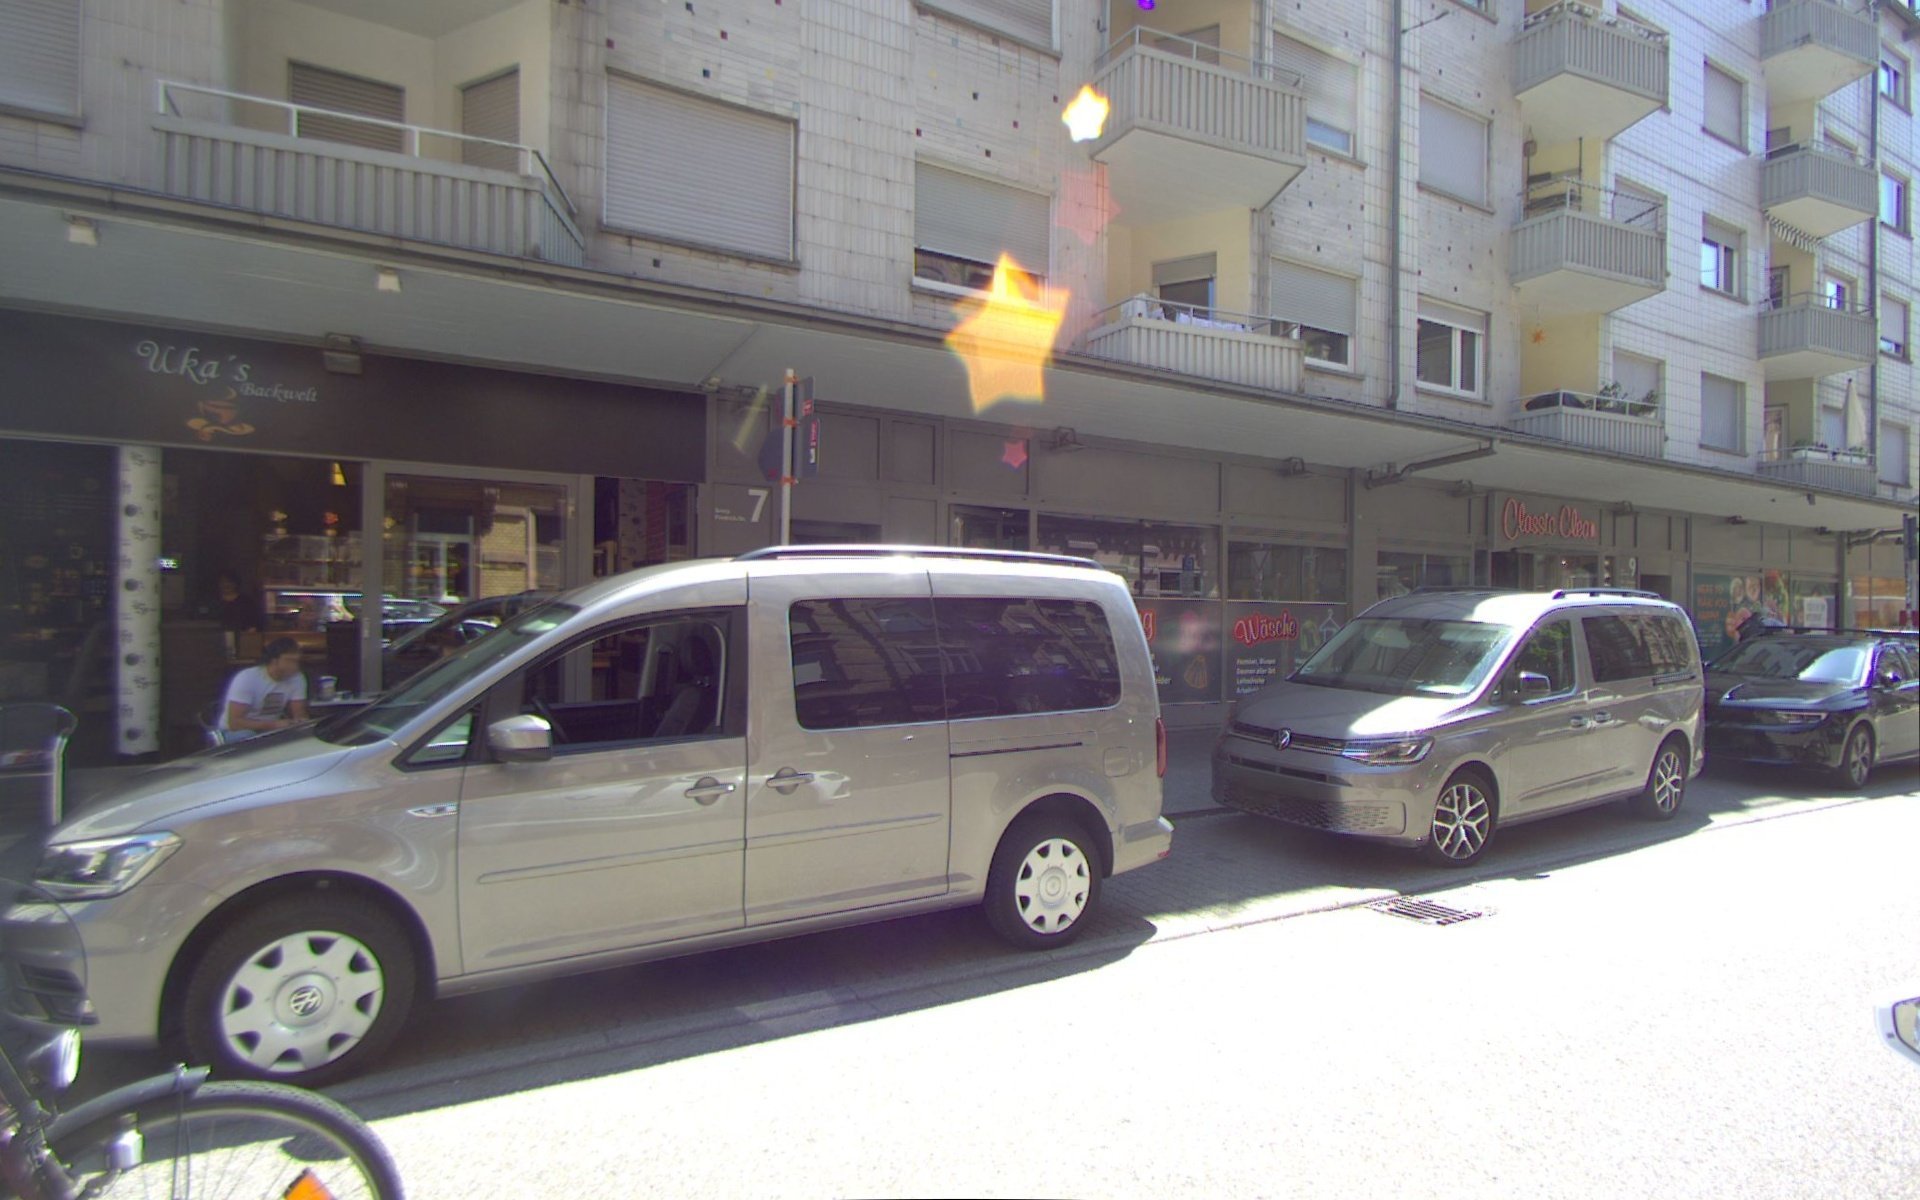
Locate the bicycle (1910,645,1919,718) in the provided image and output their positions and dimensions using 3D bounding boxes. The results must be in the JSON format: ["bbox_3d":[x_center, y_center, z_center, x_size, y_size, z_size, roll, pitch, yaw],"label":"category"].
[{"bbox_3d":[16.033,1.341,15.719,0.521,1.154,1.574,1,1,-33],"label":"bicycle"}]

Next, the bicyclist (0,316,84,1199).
[{"bbox_3d":[-1.822,0.462,1.253,0.967,1.729,0.620,1,-1,-30],"label":"bicyclist"}]

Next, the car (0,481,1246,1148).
[{"bbox_3d":[-1.051,0.630,4.775,4.843,1.853,1.780,1,0,-30],"label":"car"}]

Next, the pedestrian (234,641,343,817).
[{"bbox_3d":[-4.669,0.863,6.983,0.492,1.141,0.506,0,-1,40],"label":"pedestrian"}]

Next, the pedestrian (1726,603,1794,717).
[{"bbox_3d":[12.603,0.929,15.828,0.650,1.749,0.628,1,-1,-28],"label":"pedestrian"}]

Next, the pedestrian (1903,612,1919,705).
[{"bbox_3d":[19.304,1.163,20.002,0.927,1.821,0.527,1,-1,-30],"label":"pedestrian"}]

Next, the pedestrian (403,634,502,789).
[{"bbox_3d":[-3.887,0.836,7.715,0.498,1.141,0.500,1,-1,-2],"label":"pedestrian"}]

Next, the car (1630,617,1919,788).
[{"bbox_3d":[9.519,1.007,11.159,4.411,1.545,1.662,1,0,-30],"label":"car"}]

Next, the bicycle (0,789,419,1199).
[{"bbox_3d":[-1.791,0.914,1.275,1.917,1.106,0.600,1,-1,-31],"label":"bicycle"}]

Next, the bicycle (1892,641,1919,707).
[{"bbox_3d":[19.317,1.451,20.009,1.988,1.263,0.532,1,-1,-30],"label":"bicycle"}]

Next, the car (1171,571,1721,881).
[{"bbox_3d":[3.998,0.776,7.966,4.649,1.835,1.778,1,0,-33],"label":"car"}]
